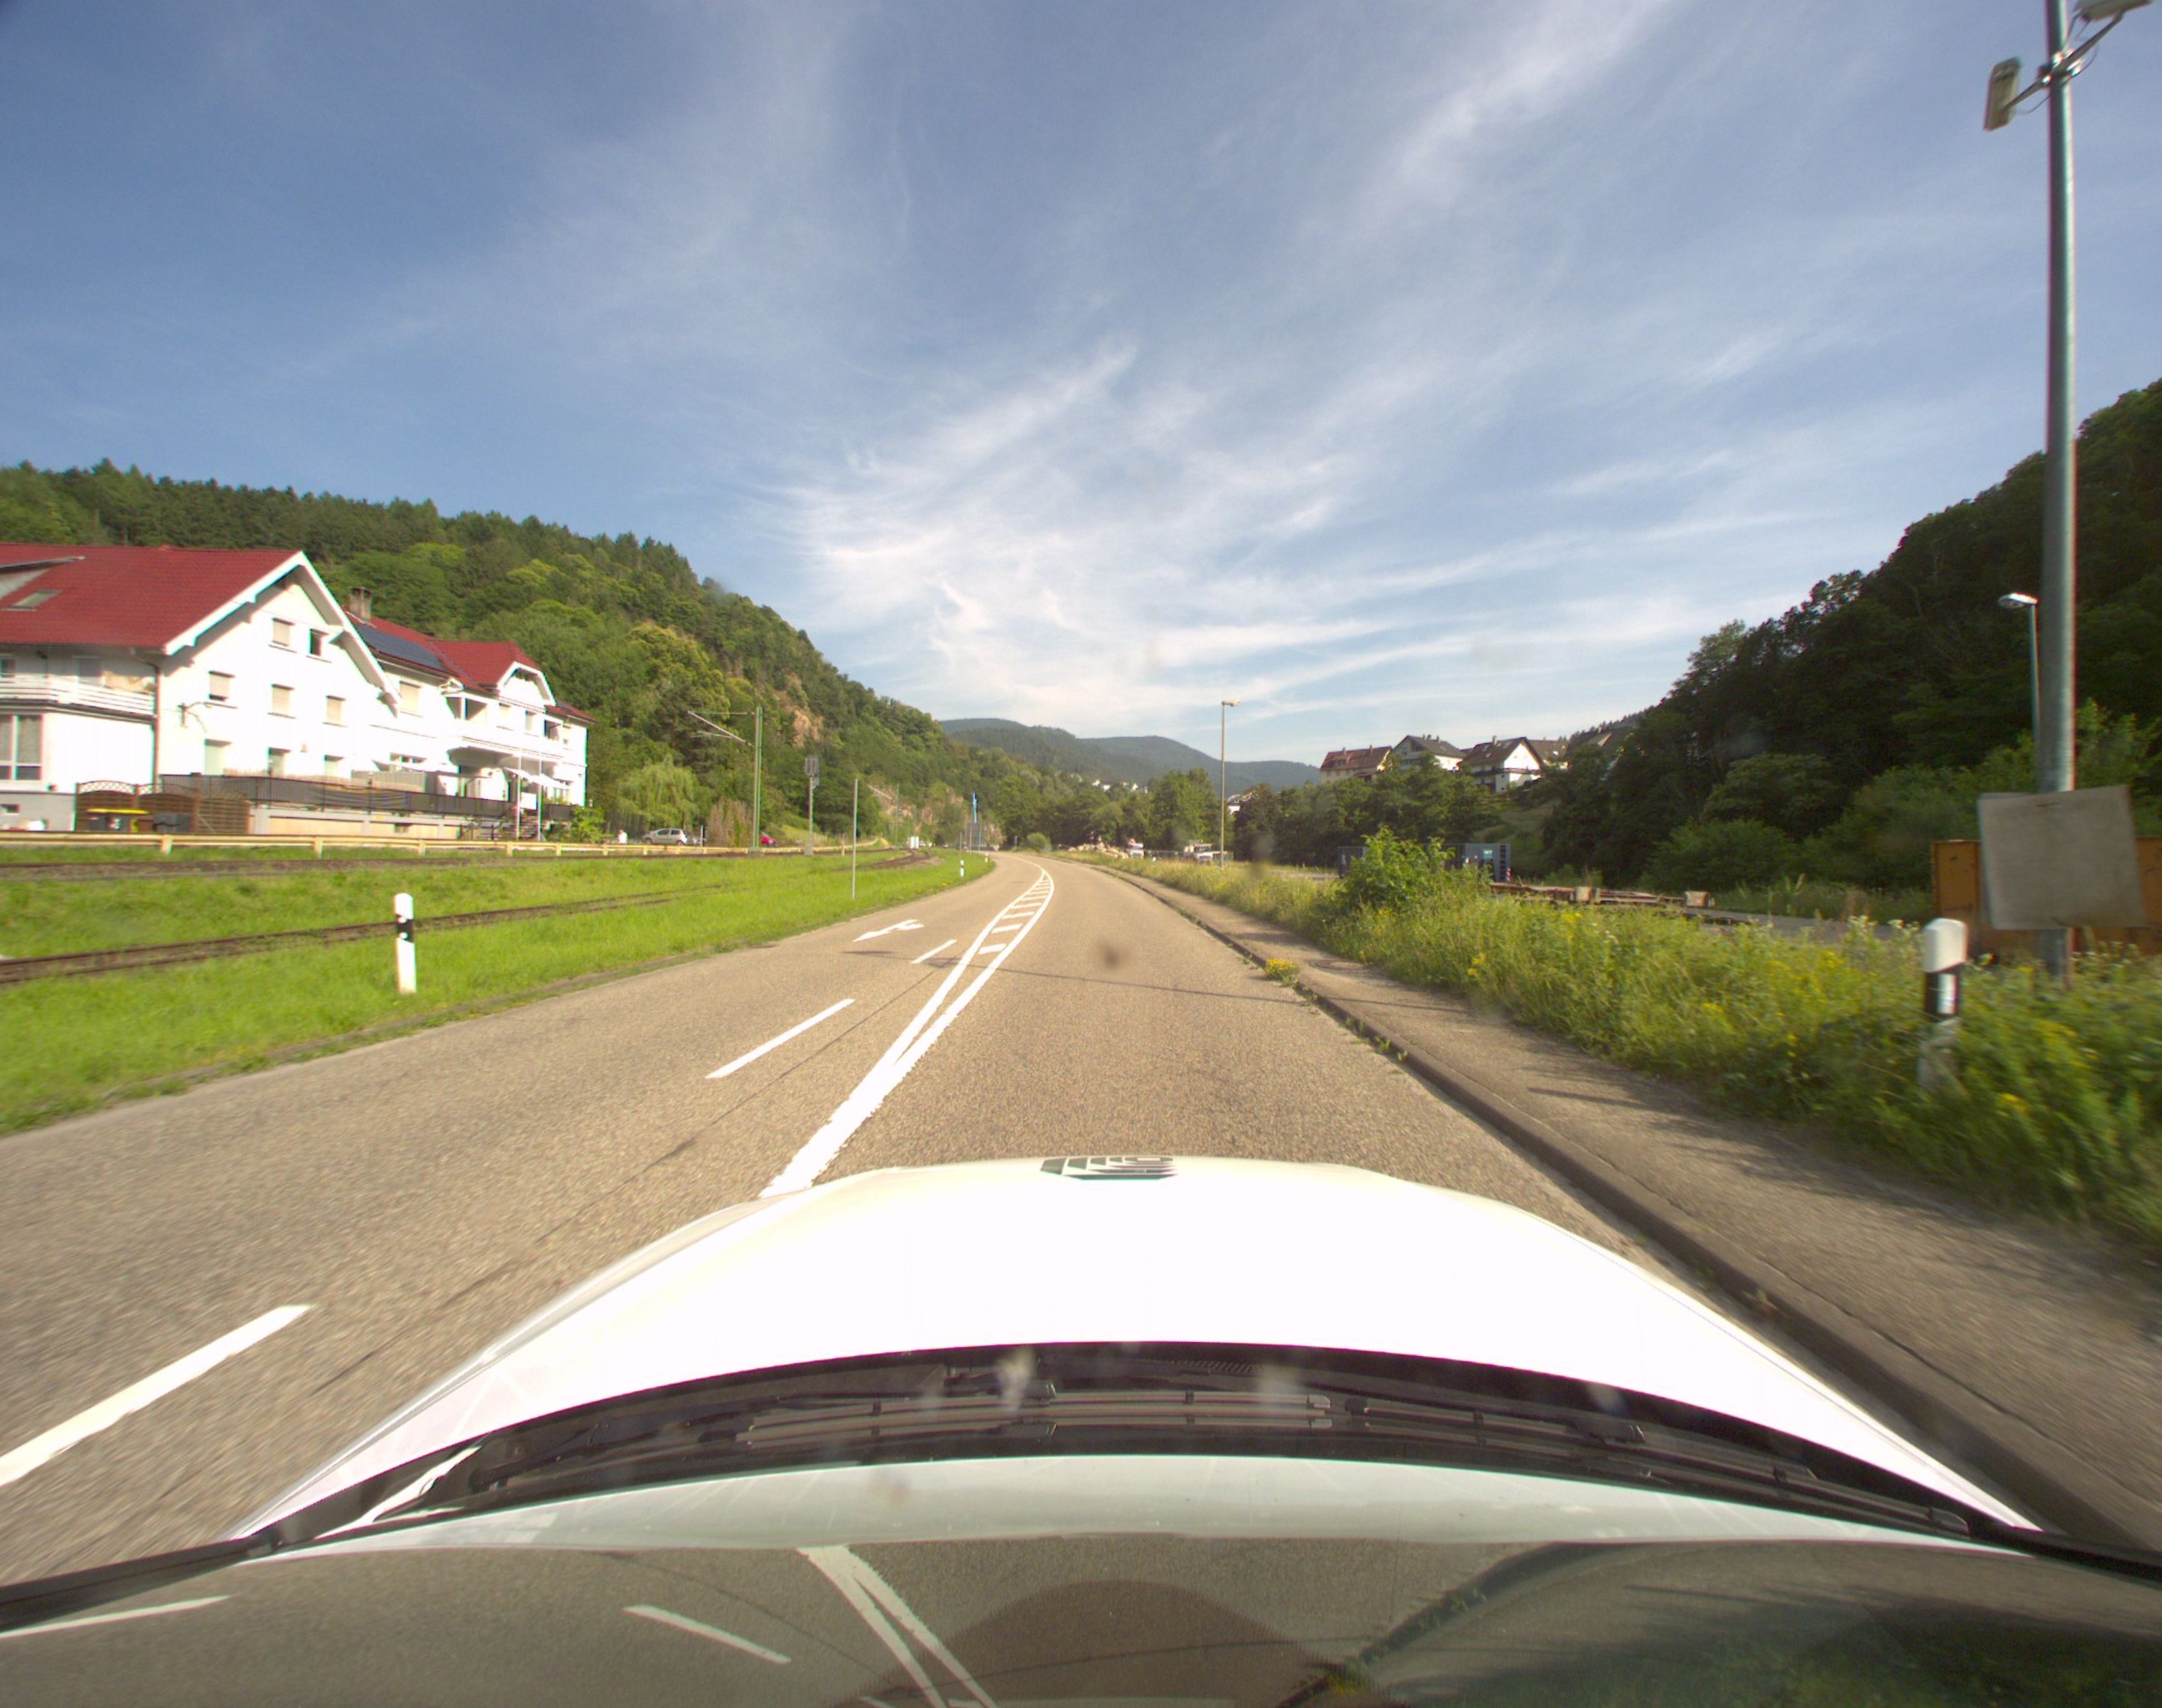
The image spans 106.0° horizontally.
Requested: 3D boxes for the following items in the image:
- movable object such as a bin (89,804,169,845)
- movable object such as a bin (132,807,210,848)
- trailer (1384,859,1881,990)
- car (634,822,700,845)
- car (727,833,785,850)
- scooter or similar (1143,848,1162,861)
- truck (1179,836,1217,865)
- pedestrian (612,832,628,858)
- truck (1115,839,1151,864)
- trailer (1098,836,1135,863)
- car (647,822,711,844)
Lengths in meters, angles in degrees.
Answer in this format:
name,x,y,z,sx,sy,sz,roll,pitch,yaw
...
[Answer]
name,x,y,z,sx,sy,sz,roll,pitch,yaw
movable object such as a bin,-29.489,-0.906,25.246,1.086,1.192,1.142,2,0,-2
movable object such as a bin,-28.330,-0.808,25.382,1.086,1.192,1.142,2,0,-2
trailer,9.073,0.950,15.608,2.783,1.474,9.885,3,0,0
car,-32.720,-1.603,64.479,4.134,1.691,1.998,1,0,-2
car,-33.693,-1.271,84.571,4.947,1.691,2.456,1,0,0
scooter or similar,11.338,0.092,130.099,1.995,2.013,3.984,0,1,-12
truck,16.205,-0.490,113.772,3.099,3.782,8.626,2,0,-6
pedestrian,-30.174,-0.585,53.299,0.602,1.616,0.680,2,0,15
truck,8.211,-0.433,130.623,3.108,3.782,8.601,2,0,-15
trailer,5.993,-0.729,139.562,3.370,4.274,9.859,2,0,-15
car,-32.944,-1.728,66.801,4.134,1.691,1.998,1,0,-2
